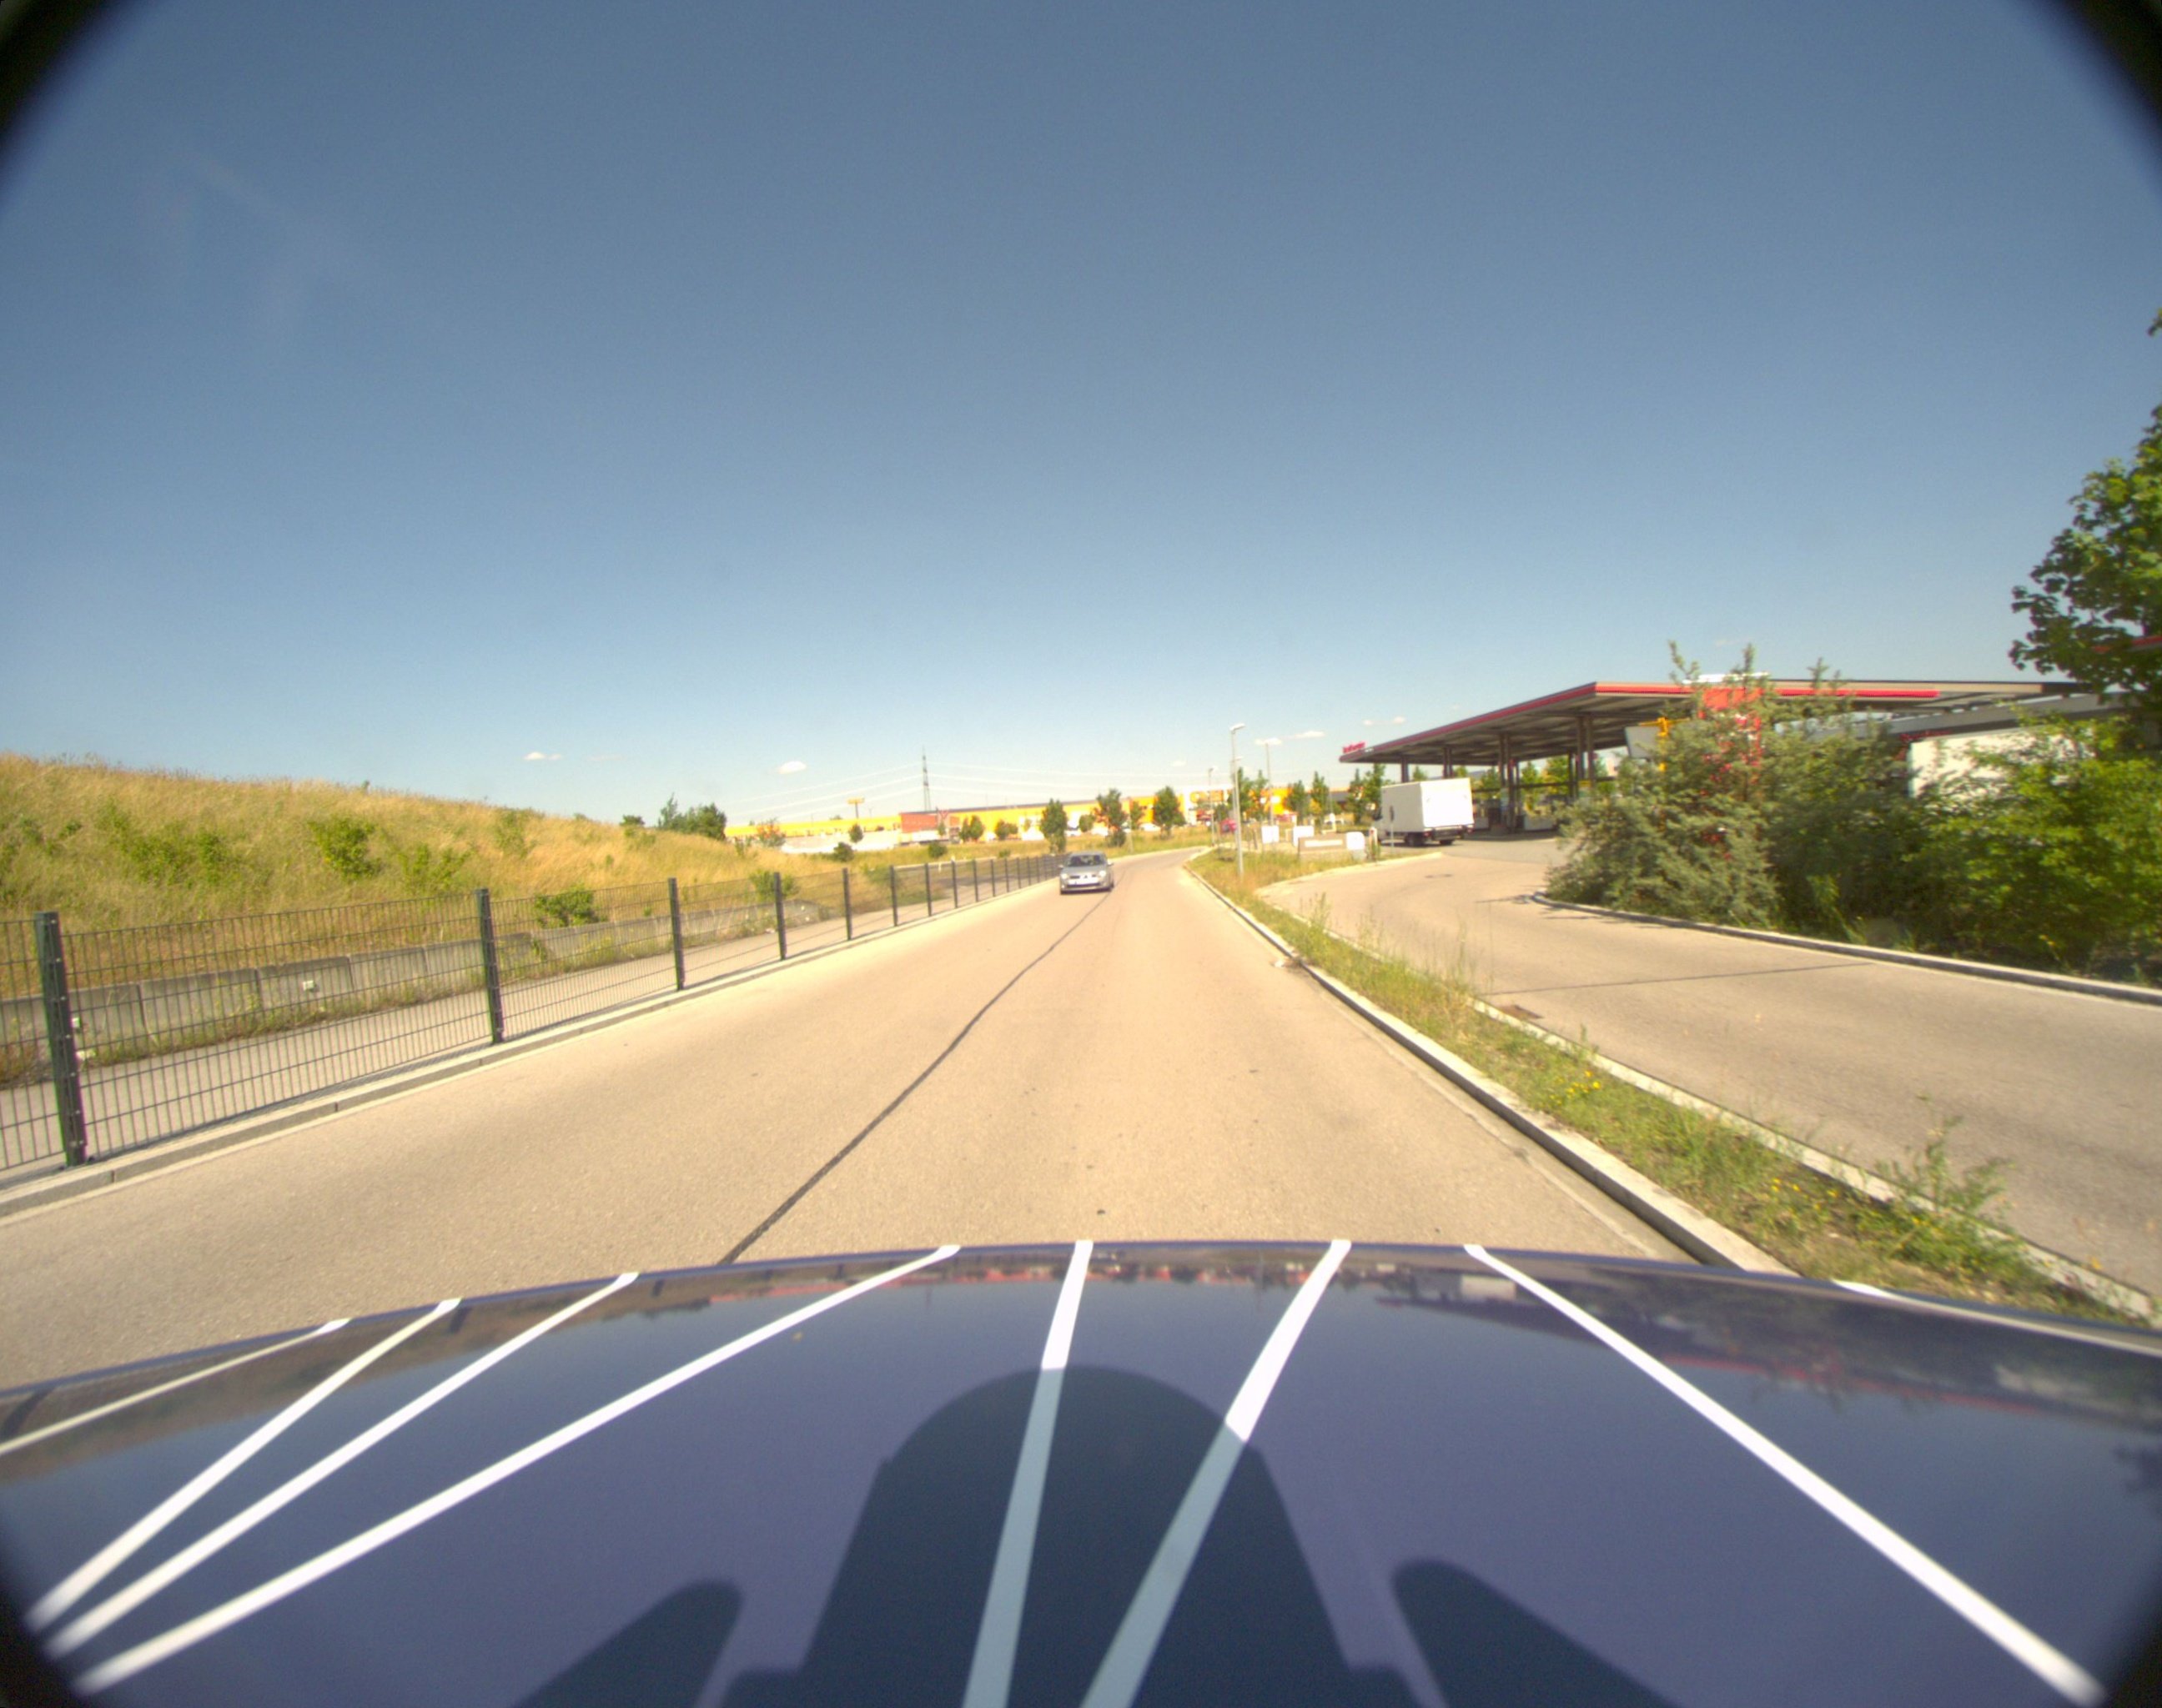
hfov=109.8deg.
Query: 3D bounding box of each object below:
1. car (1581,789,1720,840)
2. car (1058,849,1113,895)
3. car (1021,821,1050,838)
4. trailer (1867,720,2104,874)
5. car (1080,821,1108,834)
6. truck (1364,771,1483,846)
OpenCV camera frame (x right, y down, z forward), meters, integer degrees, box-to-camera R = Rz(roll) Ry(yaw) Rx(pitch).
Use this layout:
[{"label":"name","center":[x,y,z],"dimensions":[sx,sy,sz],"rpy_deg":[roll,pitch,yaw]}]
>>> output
[{"label":"car","center":[24.215,-1.656,32.403],"dimensions":[4.518,1.748,1.795],"rpy_deg":[-4,1,0]},{"label":"car","center":[0.241,0.599,27.679],"dimensions":[1.746,1.460,3.960],"rpy_deg":[-1,1,3]},{"label":"car","center":[-7.943,-4.285,133.127],"dimensions":[4.633,2.534,1.999],"rpy_deg":[-4,2,0]},{"label":"trailer","center":[13.906,-0.837,11.669],"dimensions":[3.211,2.002,1.995],"rpy_deg":[-5,2,-34]},{"label":"car","center":[2.282,-4.654,132.620],"dimensions":[4.633,2.002,1.999],"rpy_deg":[-4,1,0]},{"label":"truck","center":[17.196,-2.172,38.728],"dimensions":[2.640,3.299,6.903],"rpy_deg":[-4,1,-1]}]
